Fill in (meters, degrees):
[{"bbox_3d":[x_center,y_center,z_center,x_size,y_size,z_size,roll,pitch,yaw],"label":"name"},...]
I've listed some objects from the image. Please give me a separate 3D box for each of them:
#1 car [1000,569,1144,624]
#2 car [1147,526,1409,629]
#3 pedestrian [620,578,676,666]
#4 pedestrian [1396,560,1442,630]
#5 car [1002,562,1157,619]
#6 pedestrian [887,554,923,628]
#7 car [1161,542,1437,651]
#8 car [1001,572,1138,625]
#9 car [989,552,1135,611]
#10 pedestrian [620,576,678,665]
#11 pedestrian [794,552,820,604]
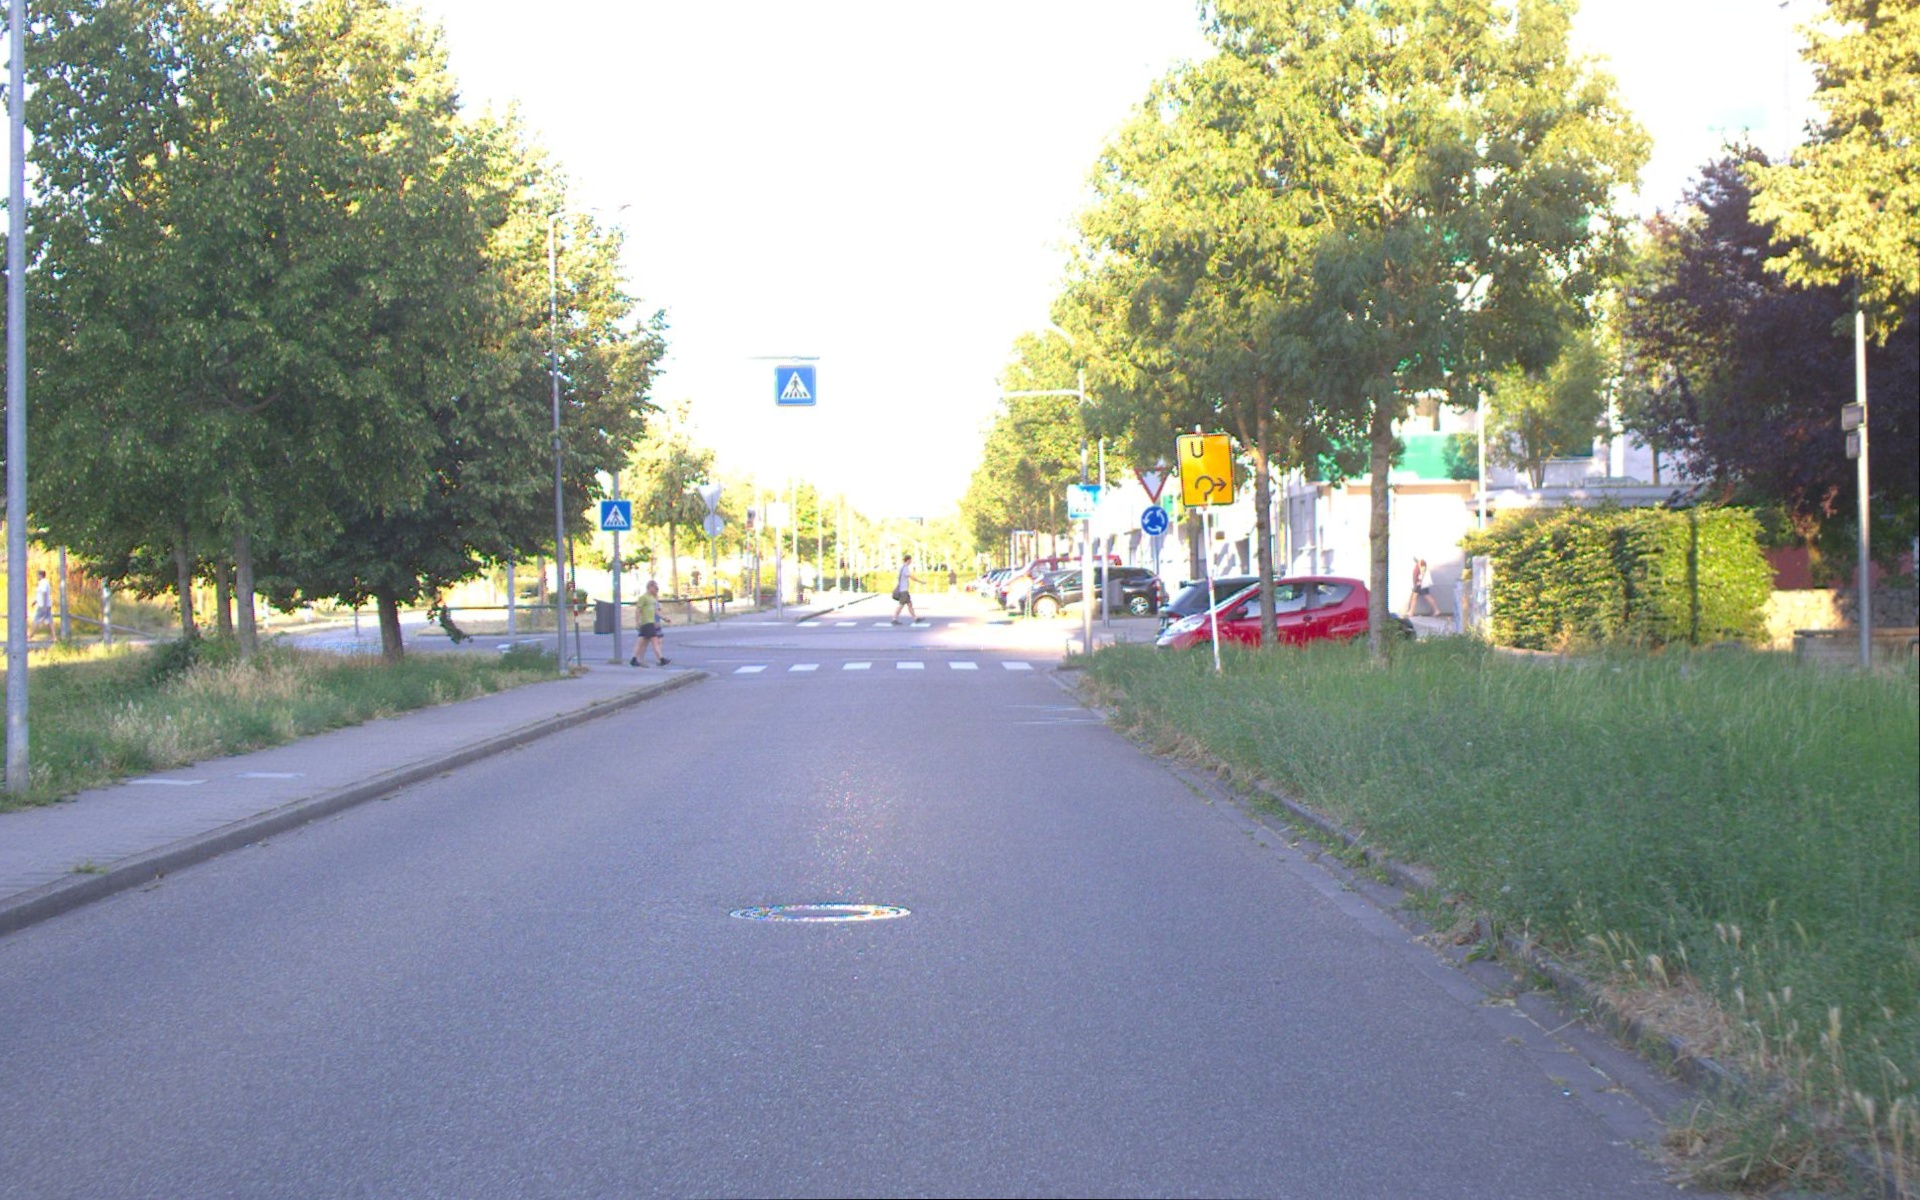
[{"bbox_3d":[3.422,-0.116,105.838,4.355,1.590,2.000,-1,0,1],"label":"car"},{"bbox_3d":[4.868,-0.352,52.914,3.802,1.503,1.679,-1,0,-2],"label":"car"},{"bbox_3d":[-6.065,0.422,66.754,0.983,1.687,0.700,-1,0,-11],"label":"pedestrian"},{"bbox_3d":[11.861,-0.131,88.812,1.003,1.782,0.762,0,0,-7],"label":"pedestrian"},{"bbox_3d":[3.484,-0.276,100.637,4.484,1.590,2.000,-1,0,1],"label":"car"},{"bbox_3d":[-1.484,-0.247,93.129,0.846,2.007,0.943,-1,0,5],"label":"pedestrian"},{"bbox_3d":[4.920,-0.052,50.237,3.802,1.503,1.679,-1,0,-2],"label":"car"},{"bbox_3d":[3.433,-0.063,108.567,4.263,1.590,2.000,-1,0,1],"label":"car"},{"bbox_3d":[3.668,-0.679,123.854,5.002,2.038,2.250,-1,0,-5],"label":"car"},{"bbox_3d":[-5.969,0.388,65.942,1.018,1.687,0.760,-1,0,-11],"label":"pedestrian"},{"bbox_3d":[-5.952,-0.866,133.502,0.866,2.007,0.790,-1,0,-11],"label":"pedestrian"}]
